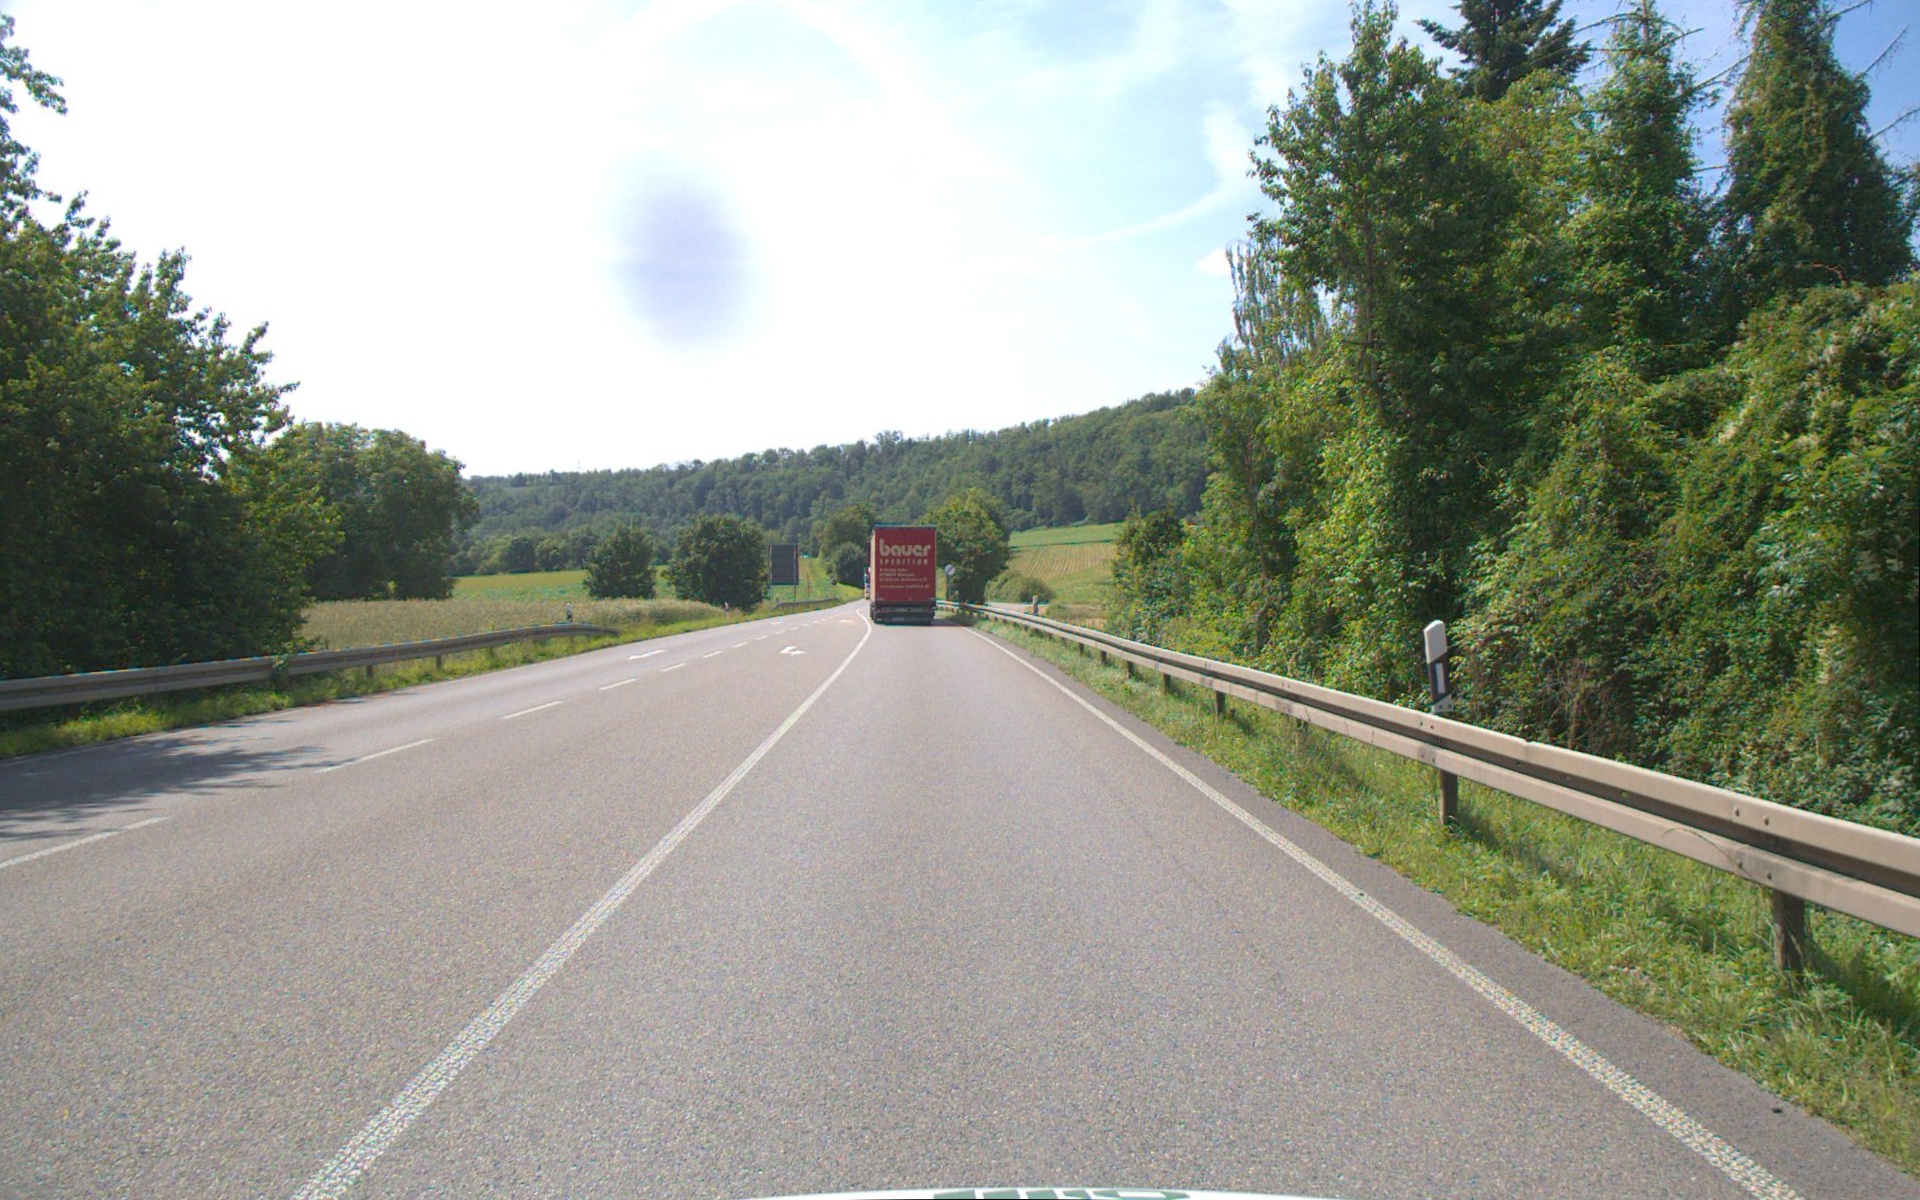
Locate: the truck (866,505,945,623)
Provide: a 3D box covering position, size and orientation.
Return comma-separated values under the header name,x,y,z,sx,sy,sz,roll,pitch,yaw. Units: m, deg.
name,x,y,z,sx,sy,sz,roll,pitch,yaw
truck,-2.554,-1.528,72.920,3.109,4.706,13.535,0,1,-3
